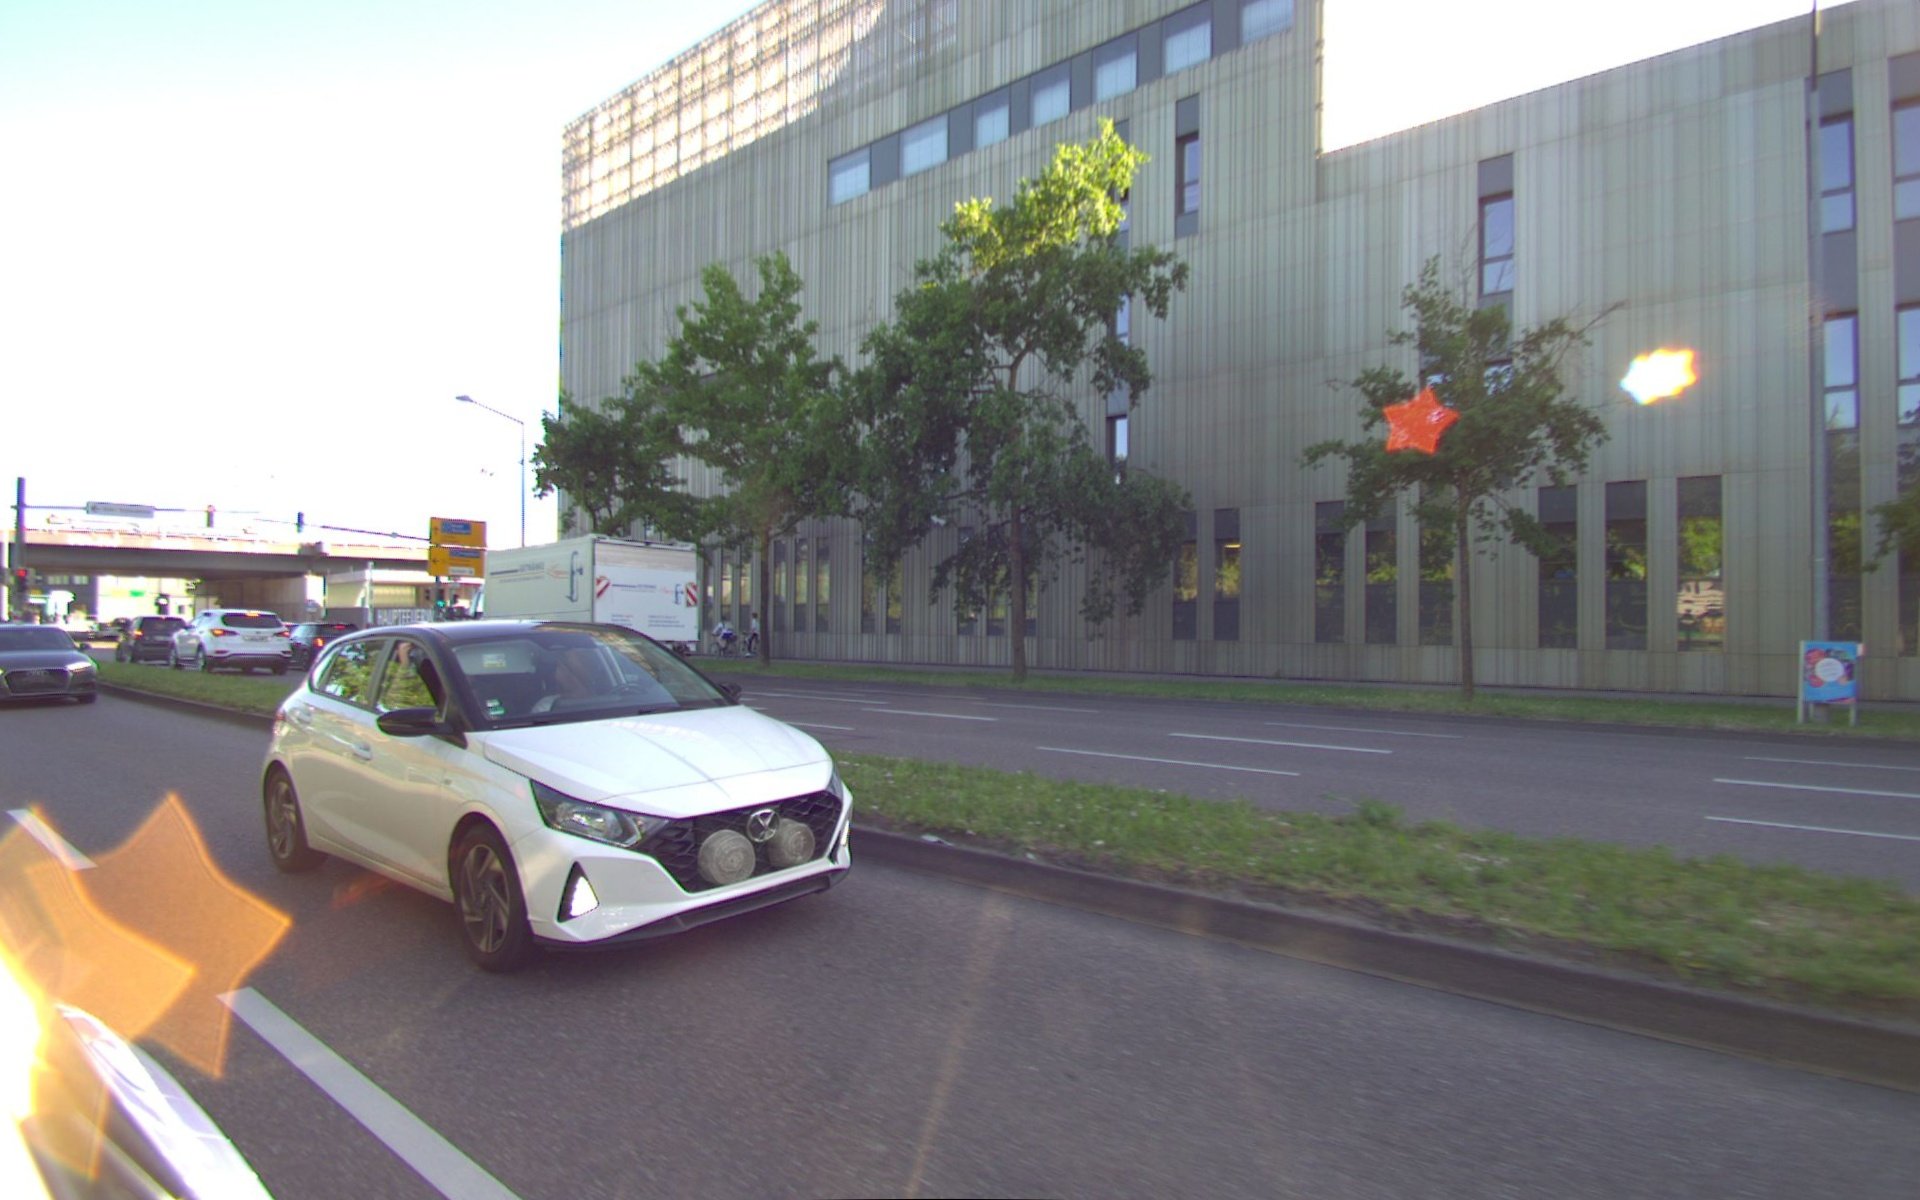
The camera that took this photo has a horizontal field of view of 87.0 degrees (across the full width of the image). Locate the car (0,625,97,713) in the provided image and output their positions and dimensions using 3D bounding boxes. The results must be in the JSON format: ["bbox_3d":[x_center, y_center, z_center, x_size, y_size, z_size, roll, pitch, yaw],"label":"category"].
[{"bbox_3d":[-17.004,1.161,18.105,4.362,1.415,1.680,-1,-2,40],"label":"car"}]

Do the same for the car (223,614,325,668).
[{"bbox_3d":[-23.174,1.345,34.143,3.998,1.669,1.822,0,-2,41],"label":"car"}]

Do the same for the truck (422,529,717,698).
[{"bbox_3d":[-8.328,0.342,21.109,7.110,2.983,2.658,-1,-3,41],"label":"truck"}]

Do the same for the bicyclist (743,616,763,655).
[{"bbox_3d":[-8.236,1.419,40.259,0.644,1.518,0.502,-1,-2,40],"label":"bicyclist"}]

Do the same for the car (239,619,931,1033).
[{"bbox_3d":[-2.262,0.830,5.518,4.071,1.419,1.760,-1,-1,40],"label":"car"}]

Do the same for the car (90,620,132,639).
[{"bbox_3d":[-65.909,2.277,78.552,4.877,1.452,1.685,-1,-3,40],"label":"car"}]

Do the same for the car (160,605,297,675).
[{"bbox_3d":[-19.398,1.045,26.763,4.655,1.695,1.805,-1,-3,40],"label":"car"}]

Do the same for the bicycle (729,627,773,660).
[{"bbox_3d":[-8.337,1.709,40.338,2.098,1.280,0.507,-1,-2,40],"label":"bicycle"}]

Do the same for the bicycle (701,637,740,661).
[{"bbox_3d":[-9.339,1.899,39.445,1.753,0.897,0.507,-1,-2,40],"label":"bicycle"}]

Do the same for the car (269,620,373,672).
[{"bbox_3d":[-19.117,1.360,30.236,3.638,1.481,1.603,-1,-3,41],"label":"car"}]

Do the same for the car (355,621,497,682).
[{"bbox_3d":[-13.569,1.275,25.630,3.997,1.435,1.816,-2,-3,40],"label":"car"}]

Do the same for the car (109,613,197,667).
[{"bbox_3d":[-25.338,1.245,31.751,3.211,1.592,1.585,-1,-3,41],"label":"car"}]

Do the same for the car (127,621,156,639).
[{"bbox_3d":[-67.738,2.475,83.723,1.473,1.422,3.940,2,-2,-45],"label":"car"}]

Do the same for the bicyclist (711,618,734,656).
[{"bbox_3d":[-9.243,1.431,39.381,0.752,1.453,0.502,-1,-2,40],"label":"bicyclist"}]

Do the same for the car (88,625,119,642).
[{"bbox_3d":[-77.831,3.043,91.950,3.424,1.544,1.551,-1,-2,41],"label":"car"}]
